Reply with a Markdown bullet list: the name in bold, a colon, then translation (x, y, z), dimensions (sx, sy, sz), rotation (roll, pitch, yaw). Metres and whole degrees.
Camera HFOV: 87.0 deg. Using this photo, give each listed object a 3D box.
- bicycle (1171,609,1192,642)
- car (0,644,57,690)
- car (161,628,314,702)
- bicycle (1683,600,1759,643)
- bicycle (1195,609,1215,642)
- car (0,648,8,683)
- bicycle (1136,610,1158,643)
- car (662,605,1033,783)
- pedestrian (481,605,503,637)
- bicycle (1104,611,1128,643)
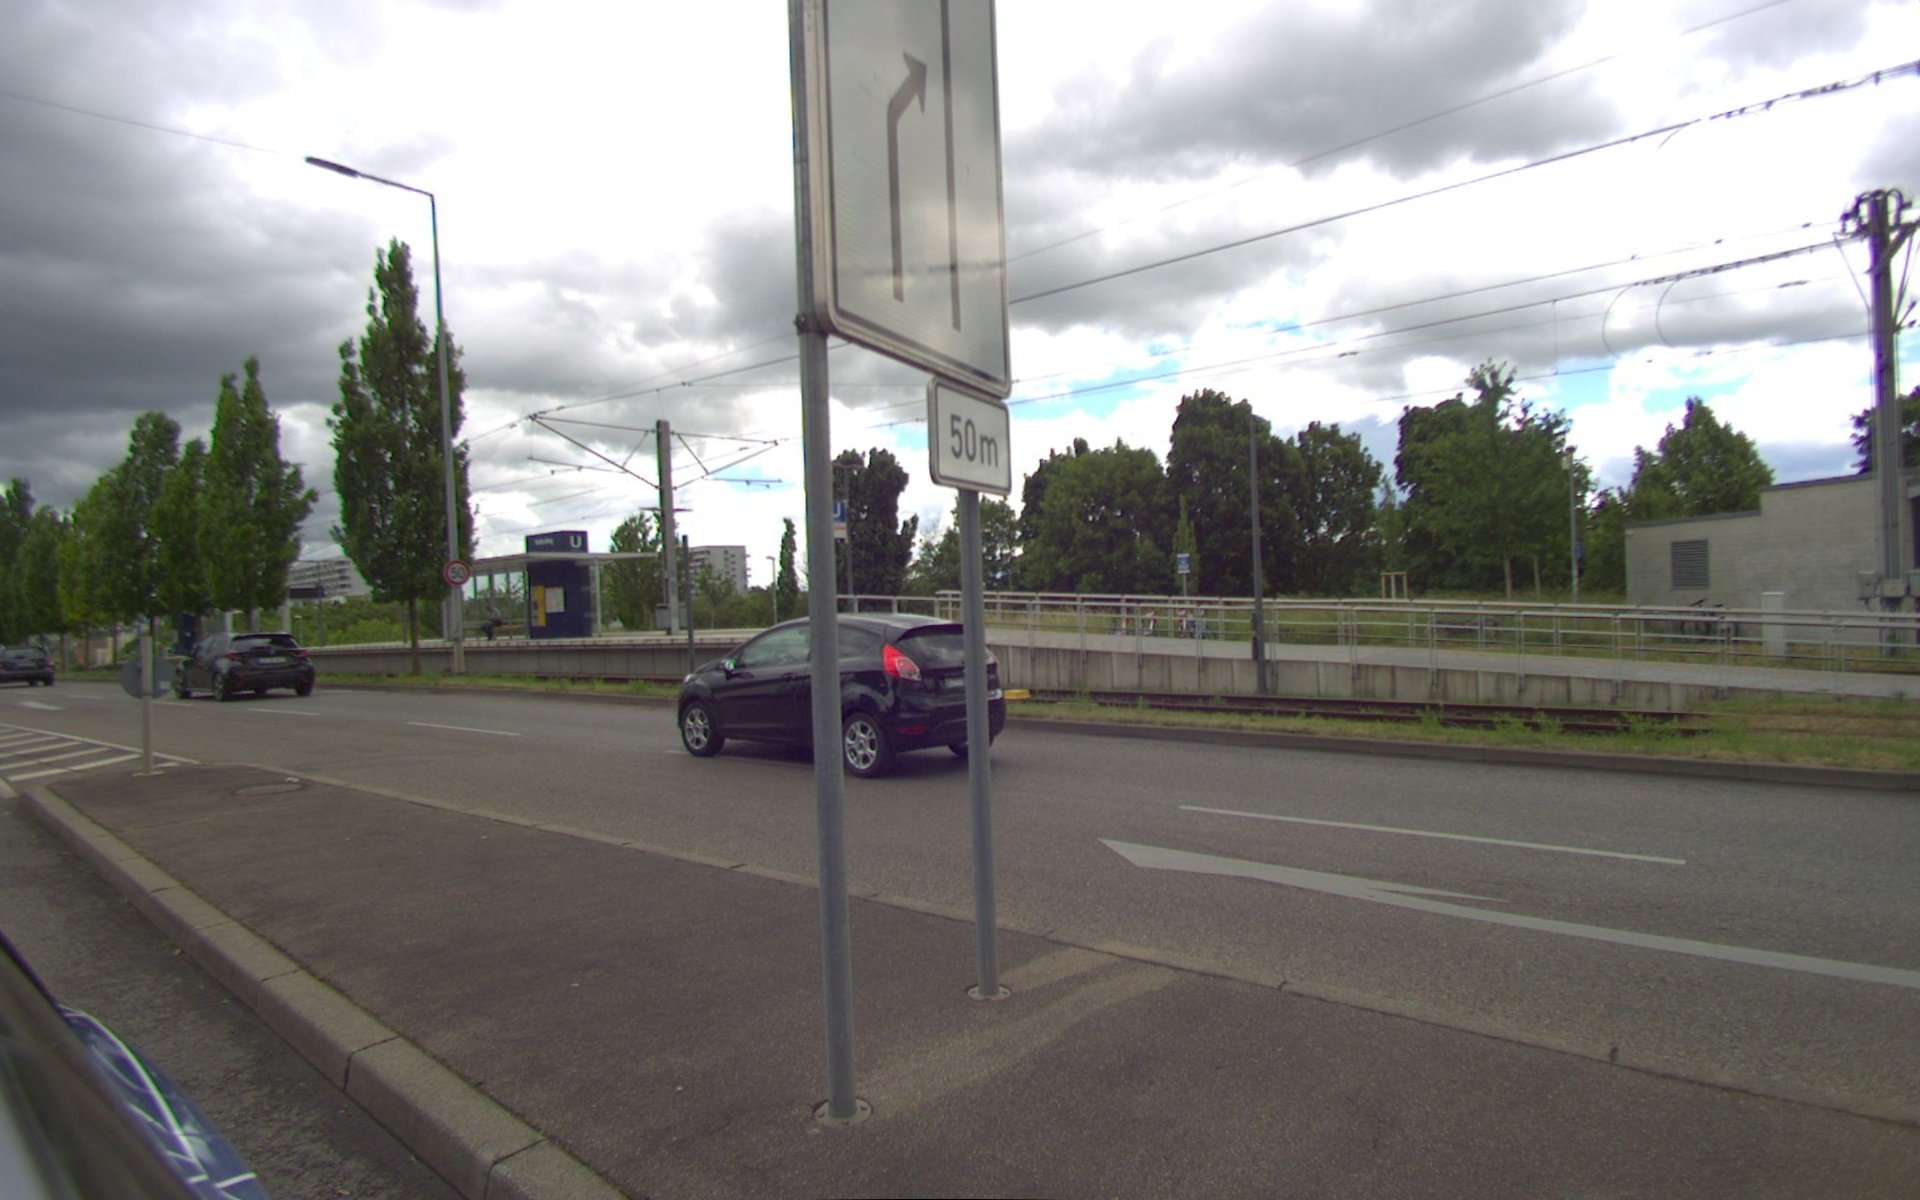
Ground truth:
- **bicycle**: translation (7.282, 0.824, 33.178), dimensions (0.531, 1.039, 1.804), rotation (-2, 0, 16)
- **car**: translation (-32.995, 2.296, 35.179), dimensions (3.930, 1.460, 1.790), rotation (-2, -1, 39)
- **car**: translation (-16.111, 1.411, 22.514), dimensions (3.928, 1.460, 1.680), rotation (-3, -1, 37)
- **bicycle**: translation (19.022, 0.518, 25.344), dimensions (0.529, 1.039, 1.813), rotation (-1, 0, 1)
- **bicycle**: translation (7.969, 0.816, 32.896), dimensions (0.531, 1.039, 1.804), rotation (-2, 0, 16)
- **car**: translation (-42.102, 2.813, 43.152), dimensions (3.930, 1.460, 1.679), rotation (-2, -1, 39)
- **bicycle**: translation (6.226, 0.859, 33.632), dimensions (0.531, 1.039, 1.804), rotation (-2, 0, 16)
- **car**: translation (-1.236, 0.824, 10.231), dimensions (3.658, 1.460, 1.678), rotation (-2, -1, 41)
- **pedestrian**: translation (-17.252, 0.768, 37.288), dimensions (0.447, 1.163, 0.593), rotation (-1, 0, 41)
- **bicycle**: translation (5.262, 0.896, 34.104), dimensions (0.531, 1.039, 1.804), rotation (-2, 0, 16)
